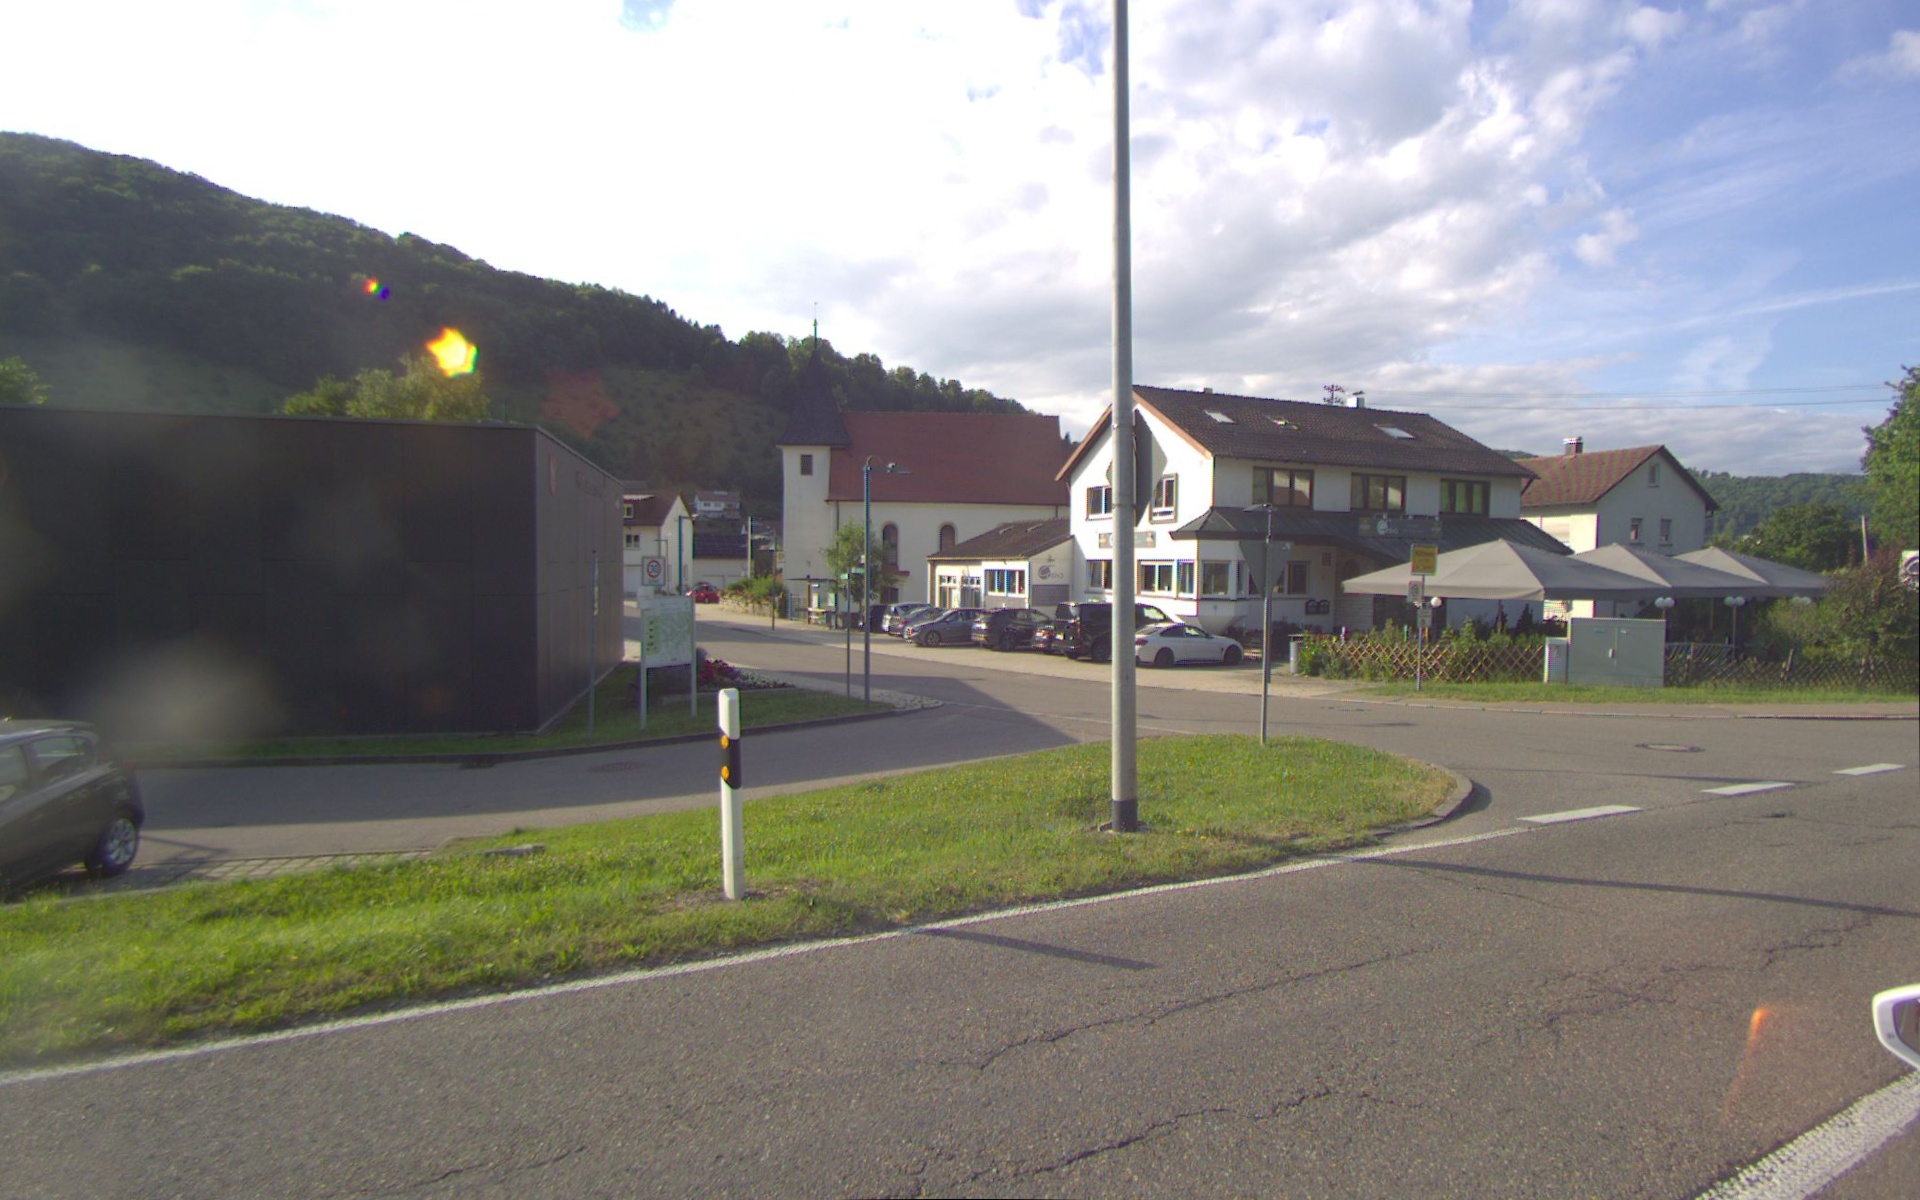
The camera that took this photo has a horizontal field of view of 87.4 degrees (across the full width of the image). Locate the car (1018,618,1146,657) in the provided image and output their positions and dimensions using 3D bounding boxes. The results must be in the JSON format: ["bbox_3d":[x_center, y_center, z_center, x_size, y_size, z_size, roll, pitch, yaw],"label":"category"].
[{"bbox_3d":[4.665,1.396,38.242,4.518,1.408,1.986,1,-1,-27],"label":"car"}]

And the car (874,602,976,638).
[{"bbox_3d":[-1.658,0.984,48.072,4.518,1.665,1.986,1,-1,-27],"label":"car"}]

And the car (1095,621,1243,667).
[{"bbox_3d":[6.849,1.412,32.836,4.518,1.408,1.986,1,-1,-27],"label":"car"}]

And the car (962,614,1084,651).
[{"bbox_3d":[2.539,1.282,40.167,4.518,1.431,1.986,1,-1,-27],"label":"car"}]

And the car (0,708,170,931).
[{"bbox_3d":[-8.482,1.823,8.011,1.801,1.555,3.992,1,-1,-12],"label":"car"}]

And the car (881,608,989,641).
[{"bbox_3d":[-1.116,1.099,45.474,4.518,1.431,1.986,1,-1,-27],"label":"car"}]

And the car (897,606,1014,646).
[{"bbox_3d":[-0.177,1.104,42.310,4.518,1.618,1.986,1,-1,-27],"label":"car"}]

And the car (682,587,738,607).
[{"bbox_3d":[-20.038,-0.206,80.498,3.956,1.528,1.982,0,0,-33],"label":"car"}]

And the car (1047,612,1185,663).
[{"bbox_3d":[5.462,1.290,35.120,4.518,1.707,1.986,1,-1,-27],"label":"car"}]
